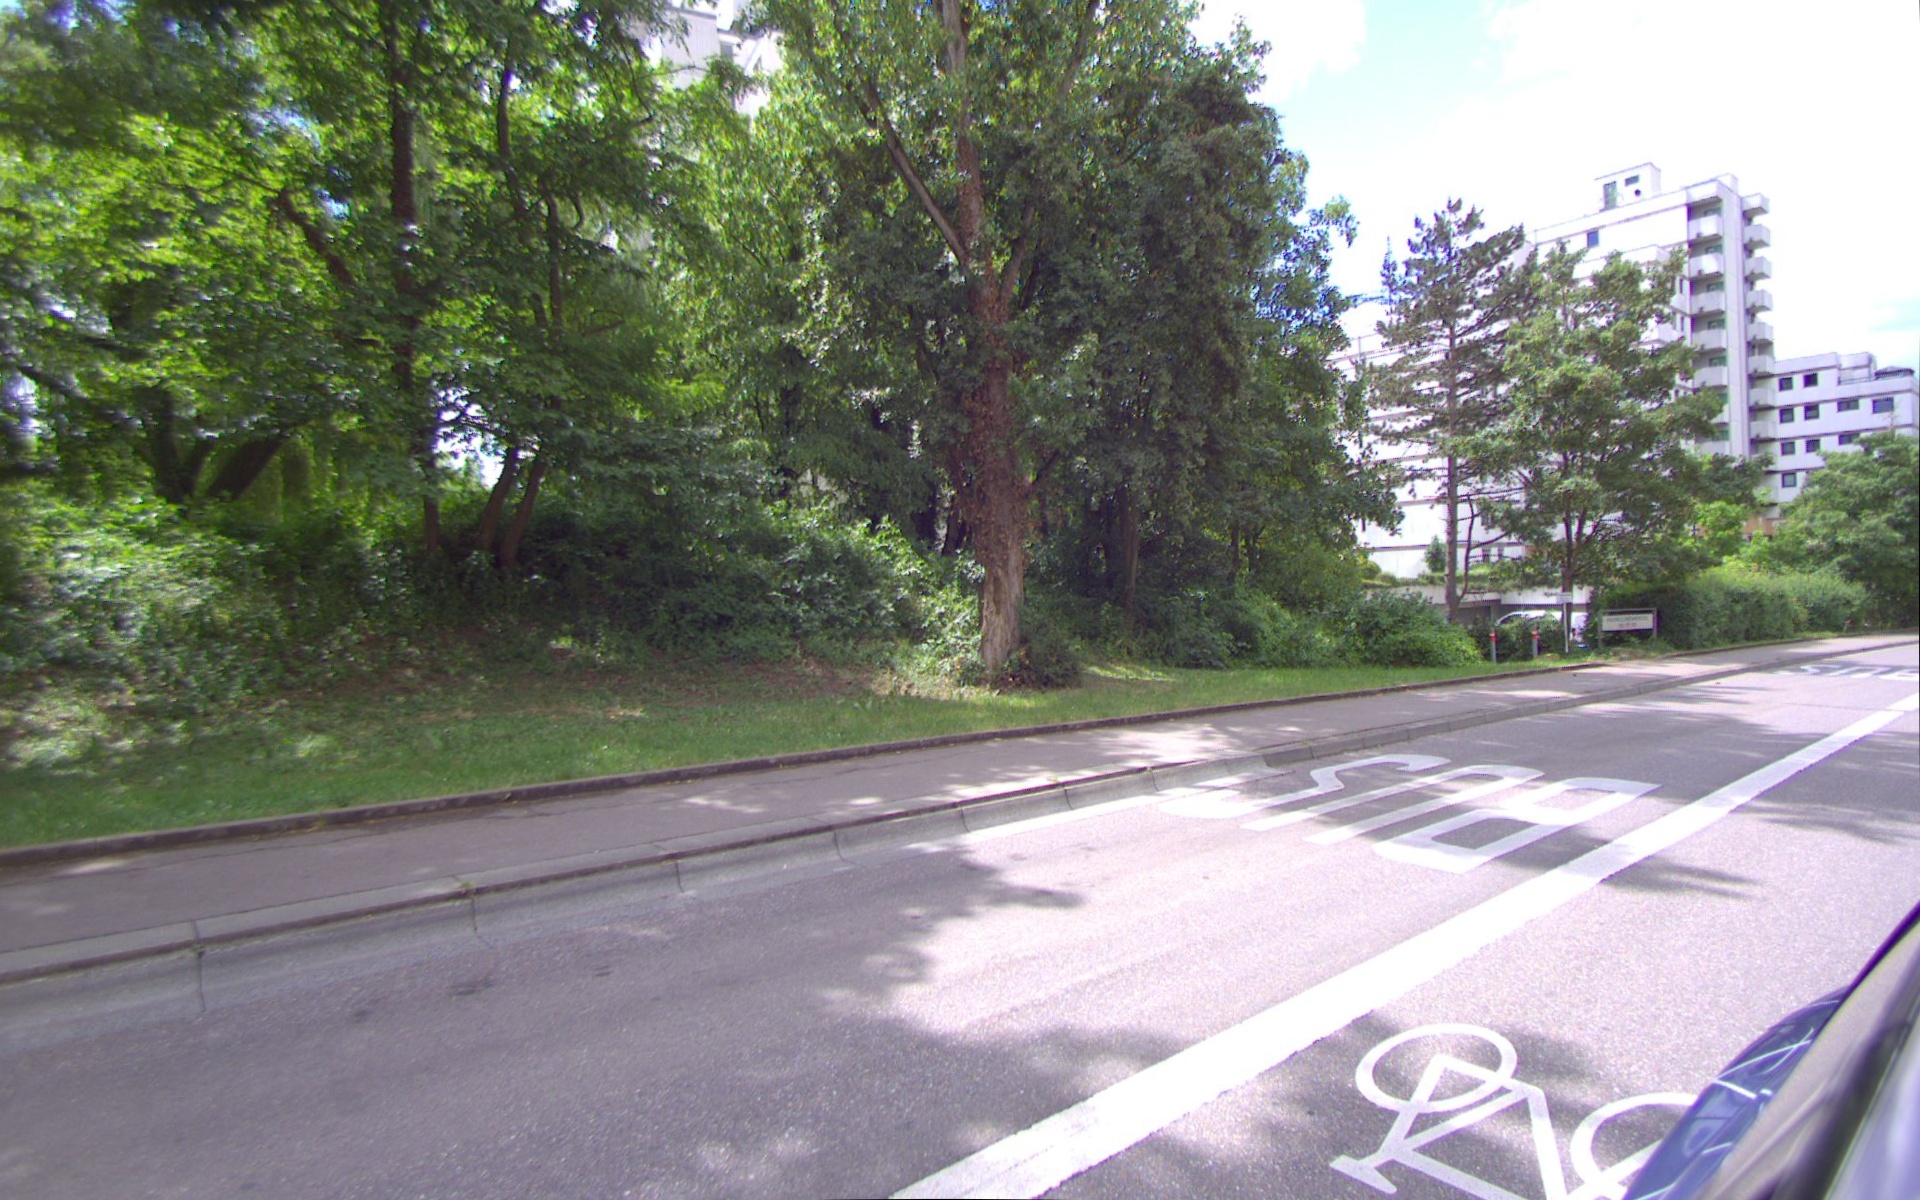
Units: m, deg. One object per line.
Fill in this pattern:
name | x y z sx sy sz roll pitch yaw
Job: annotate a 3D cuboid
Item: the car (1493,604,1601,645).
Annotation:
car | 31.049 1.234 53.639 1.962 2.039 4.549 -1 0 -34
